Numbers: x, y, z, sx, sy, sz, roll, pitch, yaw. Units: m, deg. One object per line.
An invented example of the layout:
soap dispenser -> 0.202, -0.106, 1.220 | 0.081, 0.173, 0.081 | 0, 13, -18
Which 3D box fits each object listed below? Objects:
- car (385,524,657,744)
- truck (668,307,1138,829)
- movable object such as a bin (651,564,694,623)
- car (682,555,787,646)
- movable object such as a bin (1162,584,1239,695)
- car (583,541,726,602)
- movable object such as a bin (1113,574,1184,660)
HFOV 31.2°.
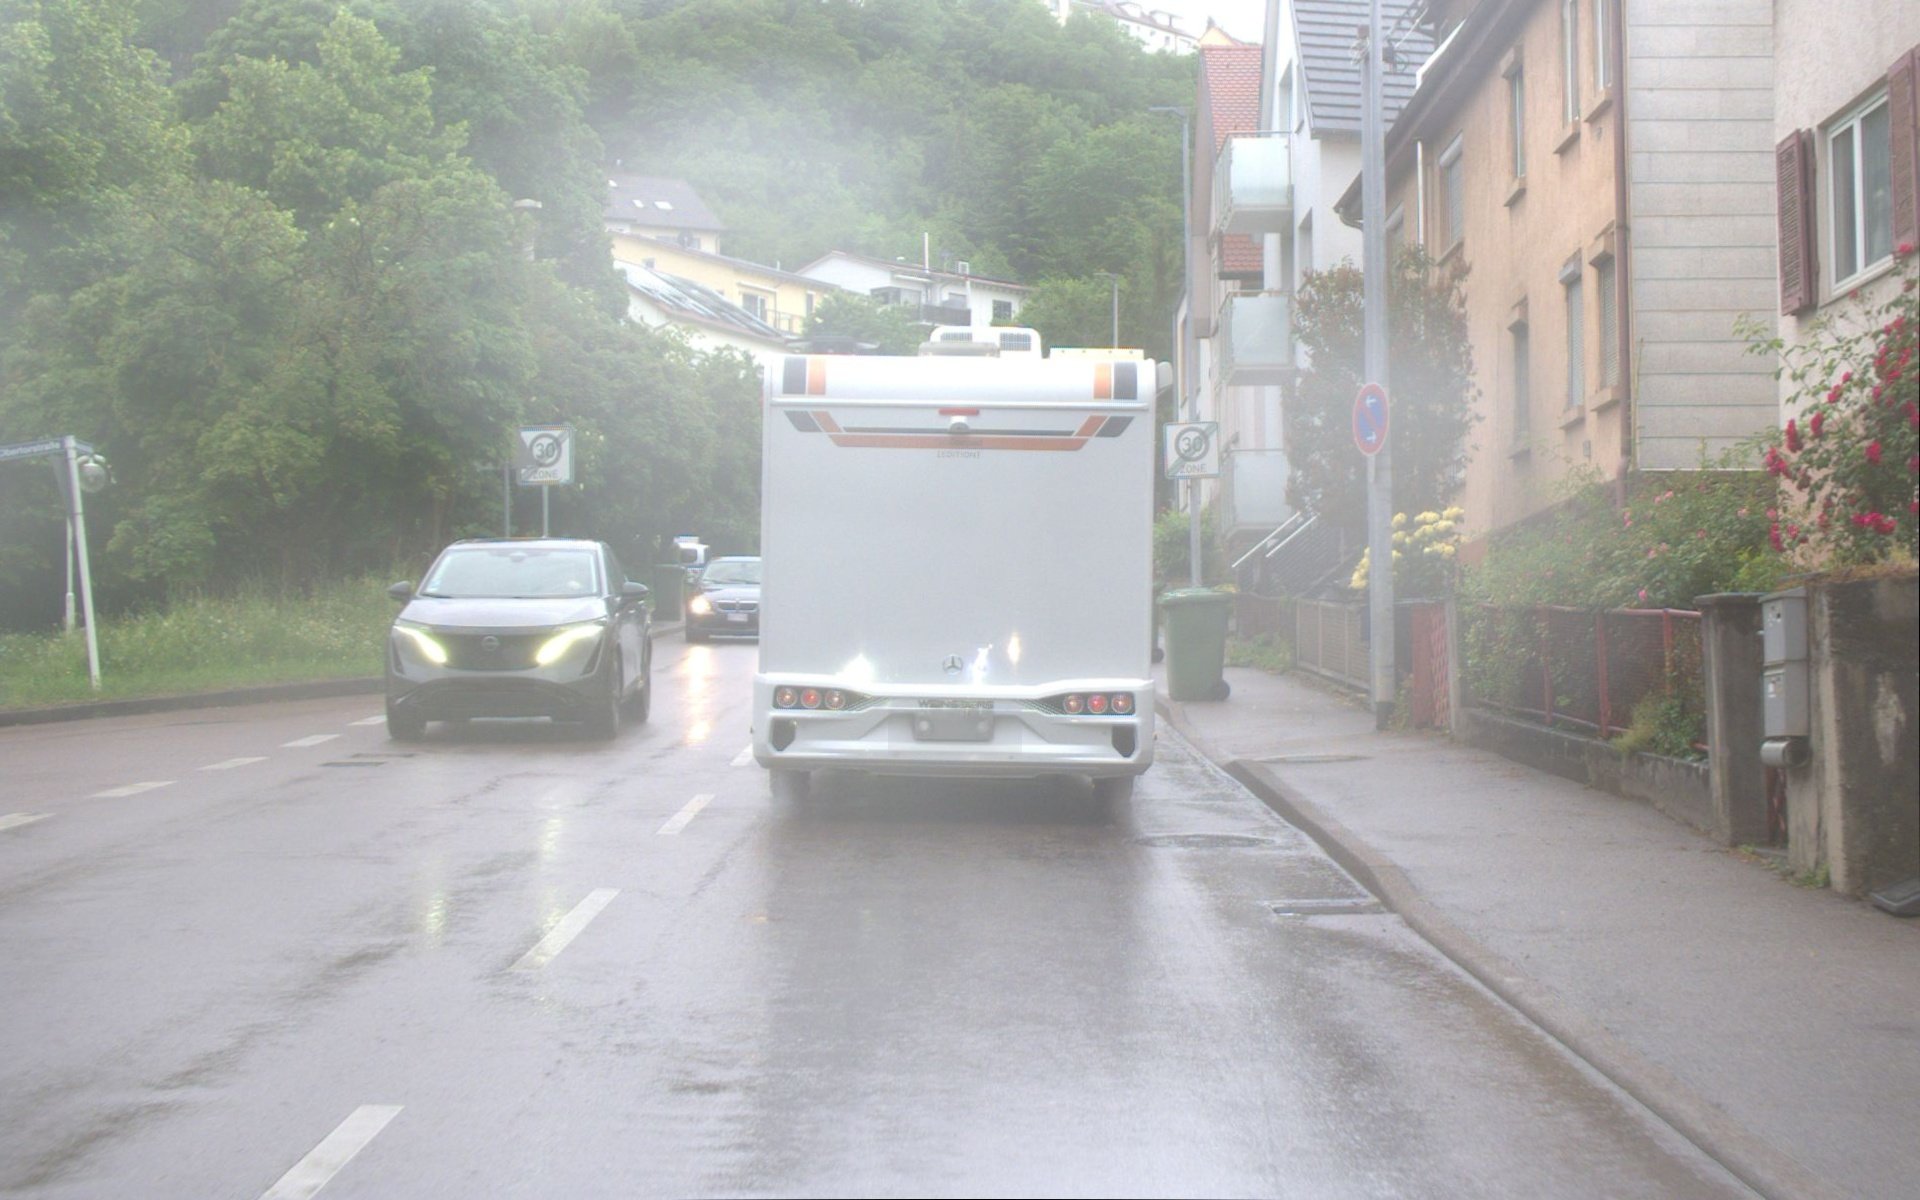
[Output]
car -> -3.612, 0.235, 28.959 | 1.751, 1.683, 4.376 | 1, 1, -1
truck -> -0.350, -0.211, 21.856 | 2.515, 2.808, 6.202 | 1, 1, -1
movable object such as a bin -> -5.539, -0.134, 66.148 | 0.720, 1.096, 0.757 | 2, 1, 1
car -> -3.730, -0.017, 57.347 | 1.560, 1.449, 4.085 | 1, 1, -2
movable object such as a bin -> 2.333, 0.382, 33.438 | 0.720, 1.048, 0.800 | 1, 1, 3
car -> -9.365, -0.884, 105.622 | 4.106, 1.794, 2.000 | 1, 1, 3
movable object such as a bin -> 2.476, 0.217, 45.243 | 0.914, 1.099, 0.702 | 1, 1, 3
